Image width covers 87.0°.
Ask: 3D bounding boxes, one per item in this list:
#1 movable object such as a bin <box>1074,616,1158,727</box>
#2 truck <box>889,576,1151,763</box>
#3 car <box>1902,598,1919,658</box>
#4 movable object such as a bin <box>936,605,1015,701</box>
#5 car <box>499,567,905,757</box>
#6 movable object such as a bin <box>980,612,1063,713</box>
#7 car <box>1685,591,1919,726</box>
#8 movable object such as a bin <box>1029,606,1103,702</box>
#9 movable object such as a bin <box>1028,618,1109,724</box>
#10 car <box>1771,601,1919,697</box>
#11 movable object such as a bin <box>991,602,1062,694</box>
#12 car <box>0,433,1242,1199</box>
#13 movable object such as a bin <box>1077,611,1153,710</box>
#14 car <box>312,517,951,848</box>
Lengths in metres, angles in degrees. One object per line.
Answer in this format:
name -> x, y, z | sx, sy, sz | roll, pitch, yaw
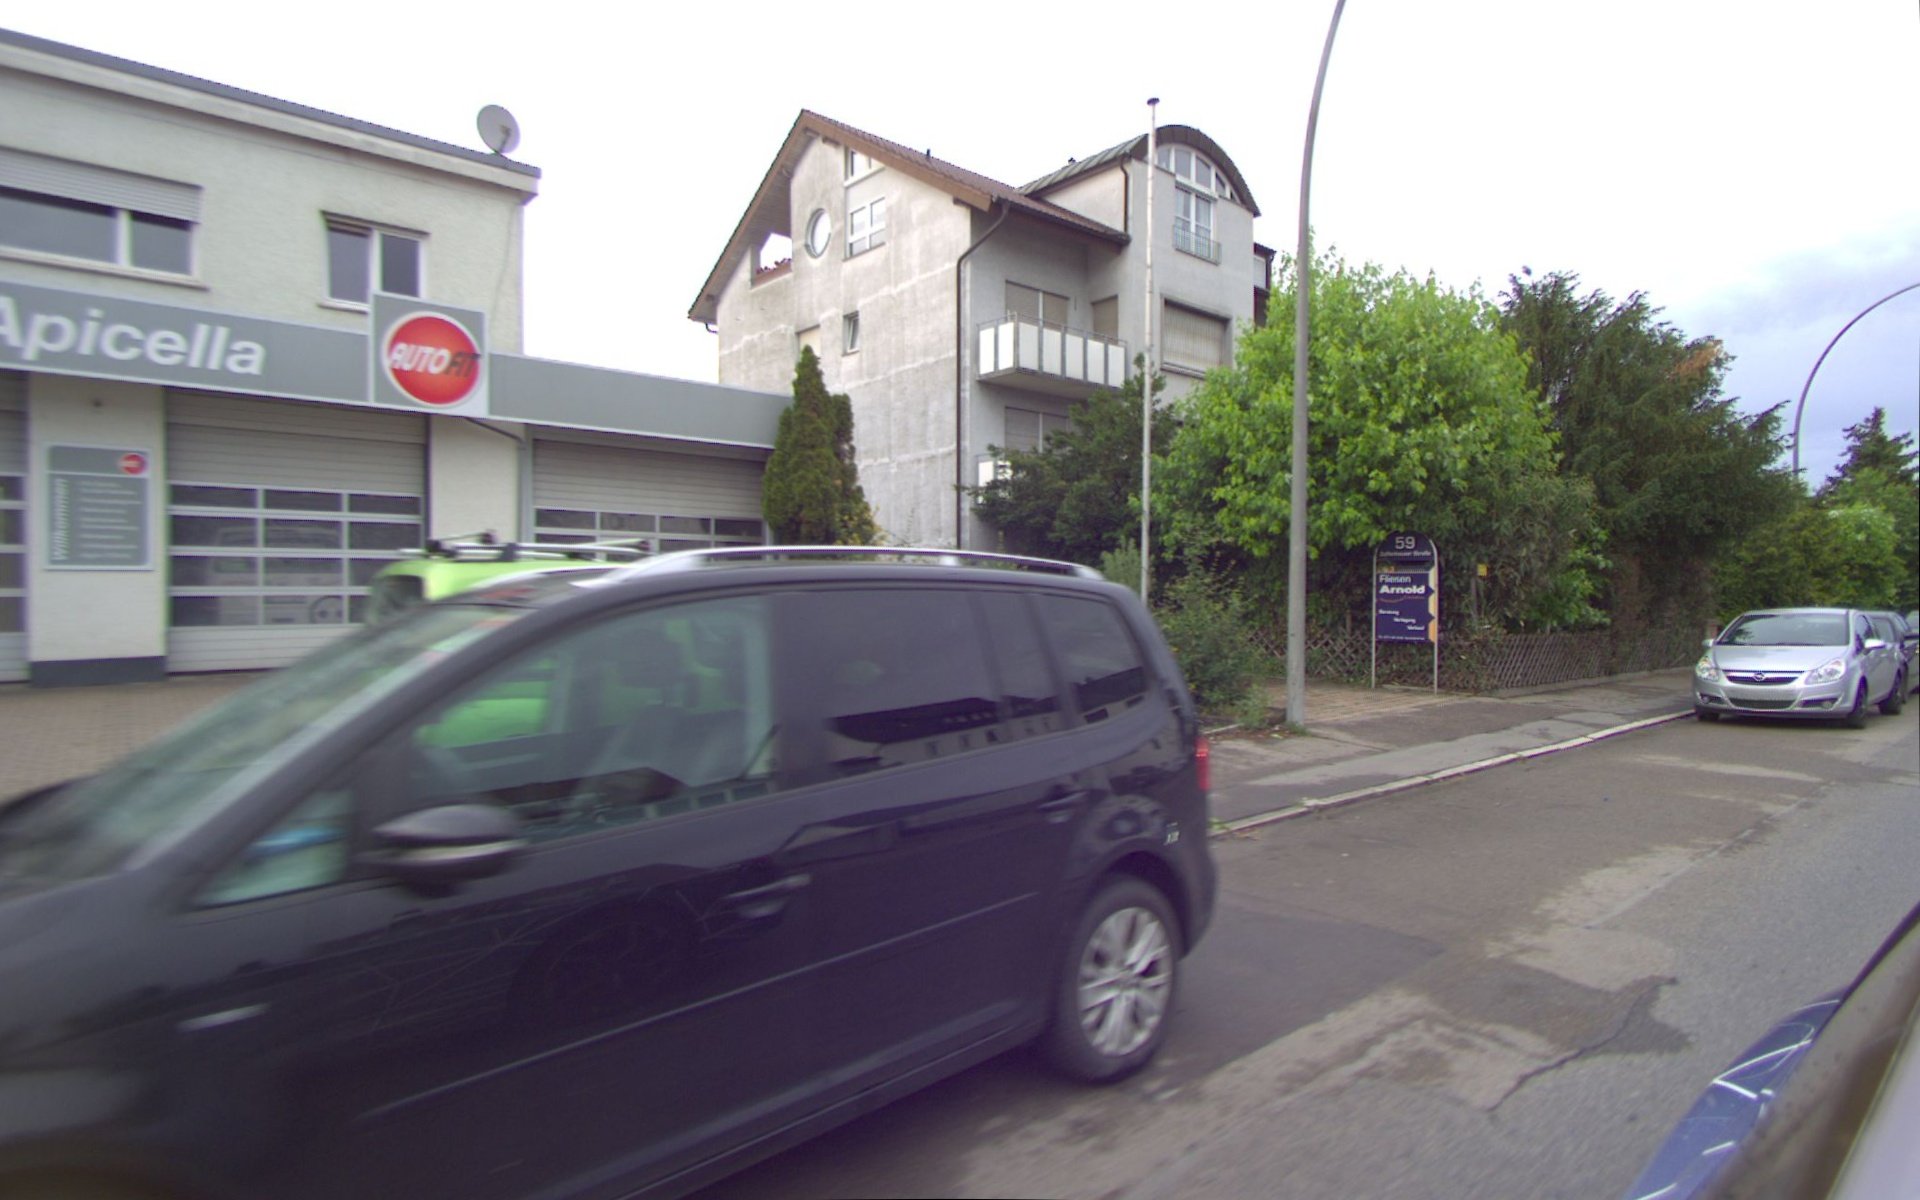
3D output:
movable object such as a bin -> 1.642, 0.728, 10.646 | 0.670, 1.088, 0.575 | 0, 0, -41
truck -> 0.486, 0.547, 9.812 | 1.300, 1.549, 2.565 | -1, 1, -32
car -> 24.955, 0.694, 25.198 | 4.037, 1.436, 1.755 | 0, 1, -41
movable object such as a bin -> 0.182, 0.615, 12.157 | 0.670, 1.088, 0.670 | 0, 1, -41
car -> -2.551, 0.506, 10.489 | 3.671, 1.538, 1.749 | 0, 4, -45
movable object such as a bin -> 0.706, 0.699, 11.626 | 0.670, 1.088, 0.670 | 0, 1, -41
car -> 11.210, 0.686, 13.319 | 3.811, 1.521, 1.741 | 0, -1, -39
movable object such as a bin -> 1.274, 0.630, 12.168 | 0.670, 1.088, 0.575 | 0, 0, -41
movable object such as a bin -> 1.191, 0.756, 11.119 | 0.670, 1.088, 0.575 | 0, 0, -41
car -> 14.945, 0.742, 16.727 | 3.653, 1.421, 1.740 | 0, -2, -41
movable object such as a bin -> 0.832, 0.582, 12.640 | 0.670, 1.088, 0.575 | 0, 0, -41
car -> -1.160, 0.556, 2.932 | 3.931, 1.616, 1.997 | 0, 1, -42
movable object such as a bin -> 1.793, 0.676, 11.688 | 0.670, 1.088, 0.575 | 0, 0, -41
car -> -2.158, 0.411, 7.314 | 3.935, 1.704, 1.995 | 0, 0, -45
